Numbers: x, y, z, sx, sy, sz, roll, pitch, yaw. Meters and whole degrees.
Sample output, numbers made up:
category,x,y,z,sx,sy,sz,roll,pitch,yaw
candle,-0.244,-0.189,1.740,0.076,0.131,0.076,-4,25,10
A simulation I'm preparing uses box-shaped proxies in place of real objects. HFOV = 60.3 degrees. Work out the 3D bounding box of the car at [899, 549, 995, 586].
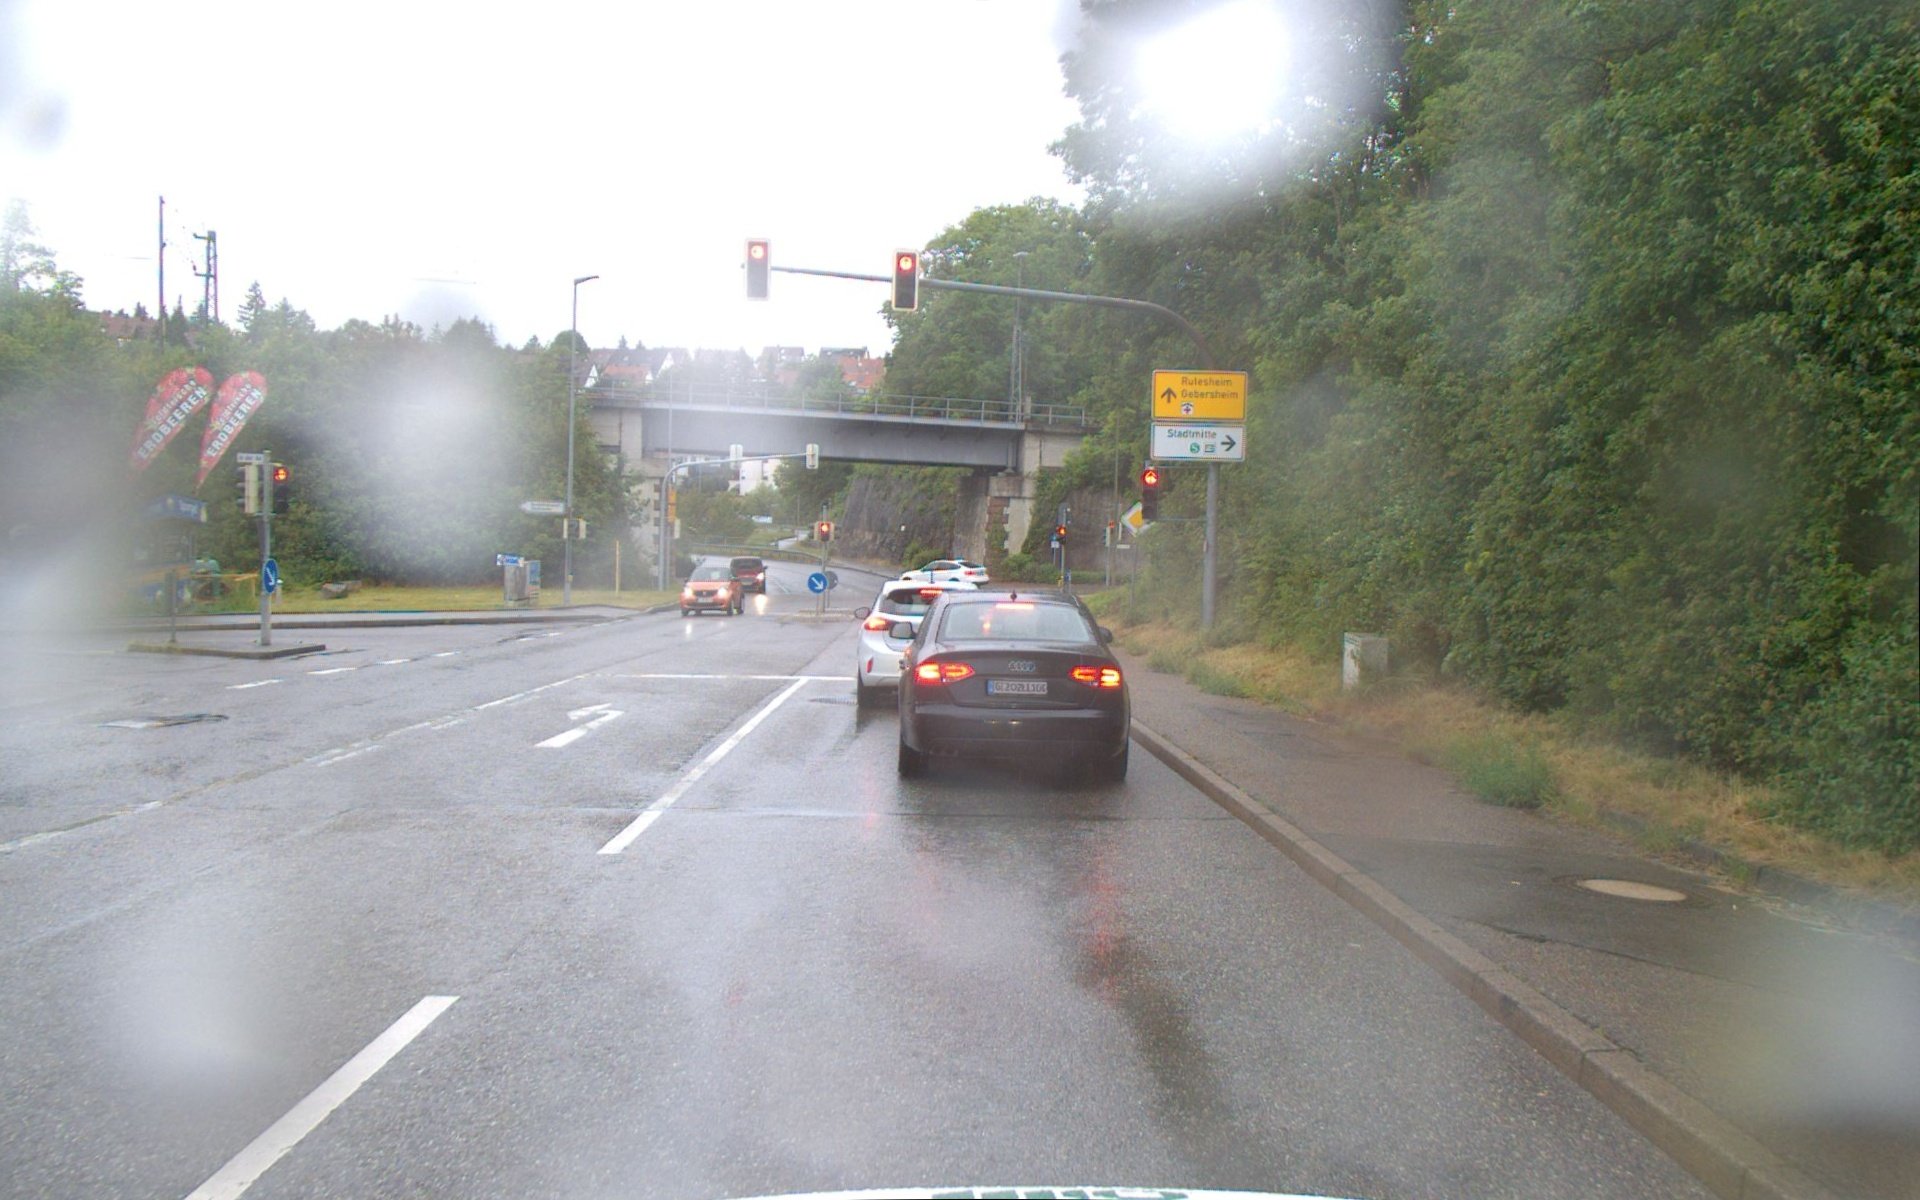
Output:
category,x,y,z,sx,sy,sz,roll,pitch,yaw
car,-0.641,-1.588,80.936,4.384,1.773,1.806,1,0,31

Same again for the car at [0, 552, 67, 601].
category,x,y,z,sx,sy,sz,roll,pitch,yaw
car,-32.323,-0.804,56.796,1.960,1.612,3.986,0,1,-14

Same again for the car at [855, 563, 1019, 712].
category,x,y,z,sx,sy,sz,roll,pitch,yaw
car,-0.291,0.423,20.226,1.786,1.613,3.999,1,0,-1

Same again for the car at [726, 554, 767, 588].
category,x,y,z,sx,sy,sz,roll,pitch,yaw
car,-10.436,-1.413,80.802,1.956,1.656,3.993,0,1,-8

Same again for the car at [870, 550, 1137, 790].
category,x,y,z,sx,sy,sz,roll,pitch,yaw
car,0.266,0.431,13.480,1.832,1.644,4.000,1,2,-1

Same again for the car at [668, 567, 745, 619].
category,x,y,z,sx,sy,sz,roll,pitch,yaw
car,-8.210,-0.209,53.928,1.953,1.613,3.999,1,0,-1
